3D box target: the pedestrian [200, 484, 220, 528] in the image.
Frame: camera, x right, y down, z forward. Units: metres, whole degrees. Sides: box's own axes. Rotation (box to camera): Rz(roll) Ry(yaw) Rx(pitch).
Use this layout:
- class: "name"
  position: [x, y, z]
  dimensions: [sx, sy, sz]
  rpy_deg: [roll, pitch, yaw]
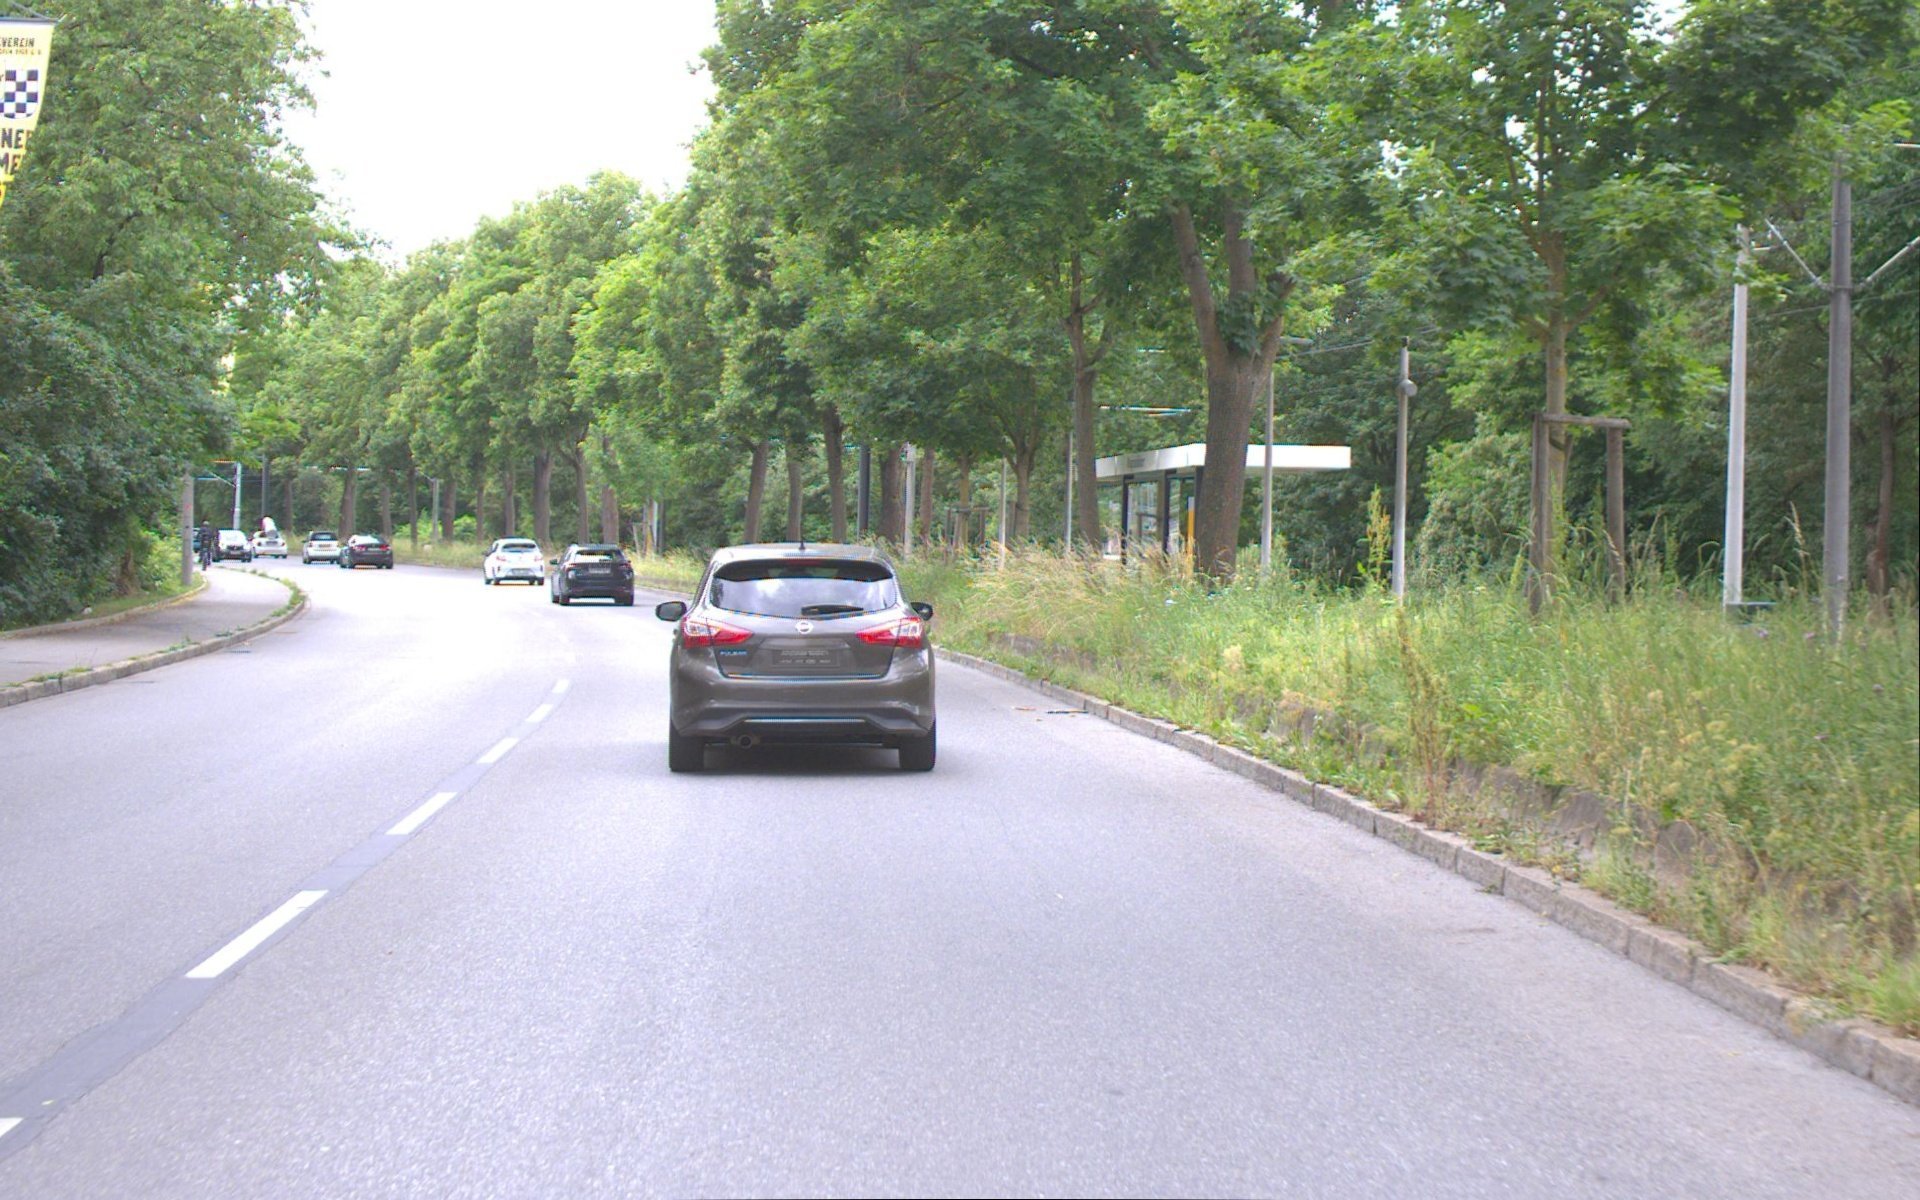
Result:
- class: "pedestrian"
  position: [-27.292, -3.410, 125.124]
  dimensions: [0.617, 1.566, 0.849]
  rpy_deg: [3, 1, -15]

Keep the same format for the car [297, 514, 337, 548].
- class: "car"
  position: [-30.392, -3.271, 162.526]
  dimensions: [1.775, 1.467, 4.002]
  rpy_deg: [2, 2, -10]

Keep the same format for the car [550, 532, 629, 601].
- class: "car"
  position: [-8.951, -0.836, 83.032]
  dimensions: [1.775, 1.467, 4.001]
  rpy_deg: [3, 2, -6]

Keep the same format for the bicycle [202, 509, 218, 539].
- class: "bicycle"
  position: [-27.318, -2.761, 125.188]
  dimensions: [0.488, 1.027, 1.125]
  rpy_deg: [3, 2, -15]

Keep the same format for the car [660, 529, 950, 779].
- class: "car"
  position: [-1.160, 0.310, 23.986]
  dimensions: [1.816, 1.503, 4.001]
  rpy_deg: [0, 2, -5]

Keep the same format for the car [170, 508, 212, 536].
- class: "car"
  position: [-46.879, -4.770, 209.588]
  dimensions: [1.775, 1.467, 4.002]
  rpy_deg: [3, 2, -23]

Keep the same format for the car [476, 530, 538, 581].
- class: "car"
  position: [-14.673, -1.463, 111.211]
  dimensions: [1.775, 1.467, 4.001]
  rpy_deg: [3, 2, -10]

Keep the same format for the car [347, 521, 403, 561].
- class: "car"
  position: [-25.094, -2.525, 147.449]
  dimensions: [1.775, 1.467, 4.002]
  rpy_deg: [4, 1, -17]

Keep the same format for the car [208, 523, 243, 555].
- class: "car"
  position: [-35.287, -2.939, 165.112]
  dimensions: [1.595, 1.500, 3.029]
  rpy_deg: [0, 1, -13]

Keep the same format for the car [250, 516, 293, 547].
- class: "car"
  position: [-36.591, -3.661, 182.680]
  dimensions: [1.775, 1.467, 4.002]
  rpy_deg: [3, 2, -17]
